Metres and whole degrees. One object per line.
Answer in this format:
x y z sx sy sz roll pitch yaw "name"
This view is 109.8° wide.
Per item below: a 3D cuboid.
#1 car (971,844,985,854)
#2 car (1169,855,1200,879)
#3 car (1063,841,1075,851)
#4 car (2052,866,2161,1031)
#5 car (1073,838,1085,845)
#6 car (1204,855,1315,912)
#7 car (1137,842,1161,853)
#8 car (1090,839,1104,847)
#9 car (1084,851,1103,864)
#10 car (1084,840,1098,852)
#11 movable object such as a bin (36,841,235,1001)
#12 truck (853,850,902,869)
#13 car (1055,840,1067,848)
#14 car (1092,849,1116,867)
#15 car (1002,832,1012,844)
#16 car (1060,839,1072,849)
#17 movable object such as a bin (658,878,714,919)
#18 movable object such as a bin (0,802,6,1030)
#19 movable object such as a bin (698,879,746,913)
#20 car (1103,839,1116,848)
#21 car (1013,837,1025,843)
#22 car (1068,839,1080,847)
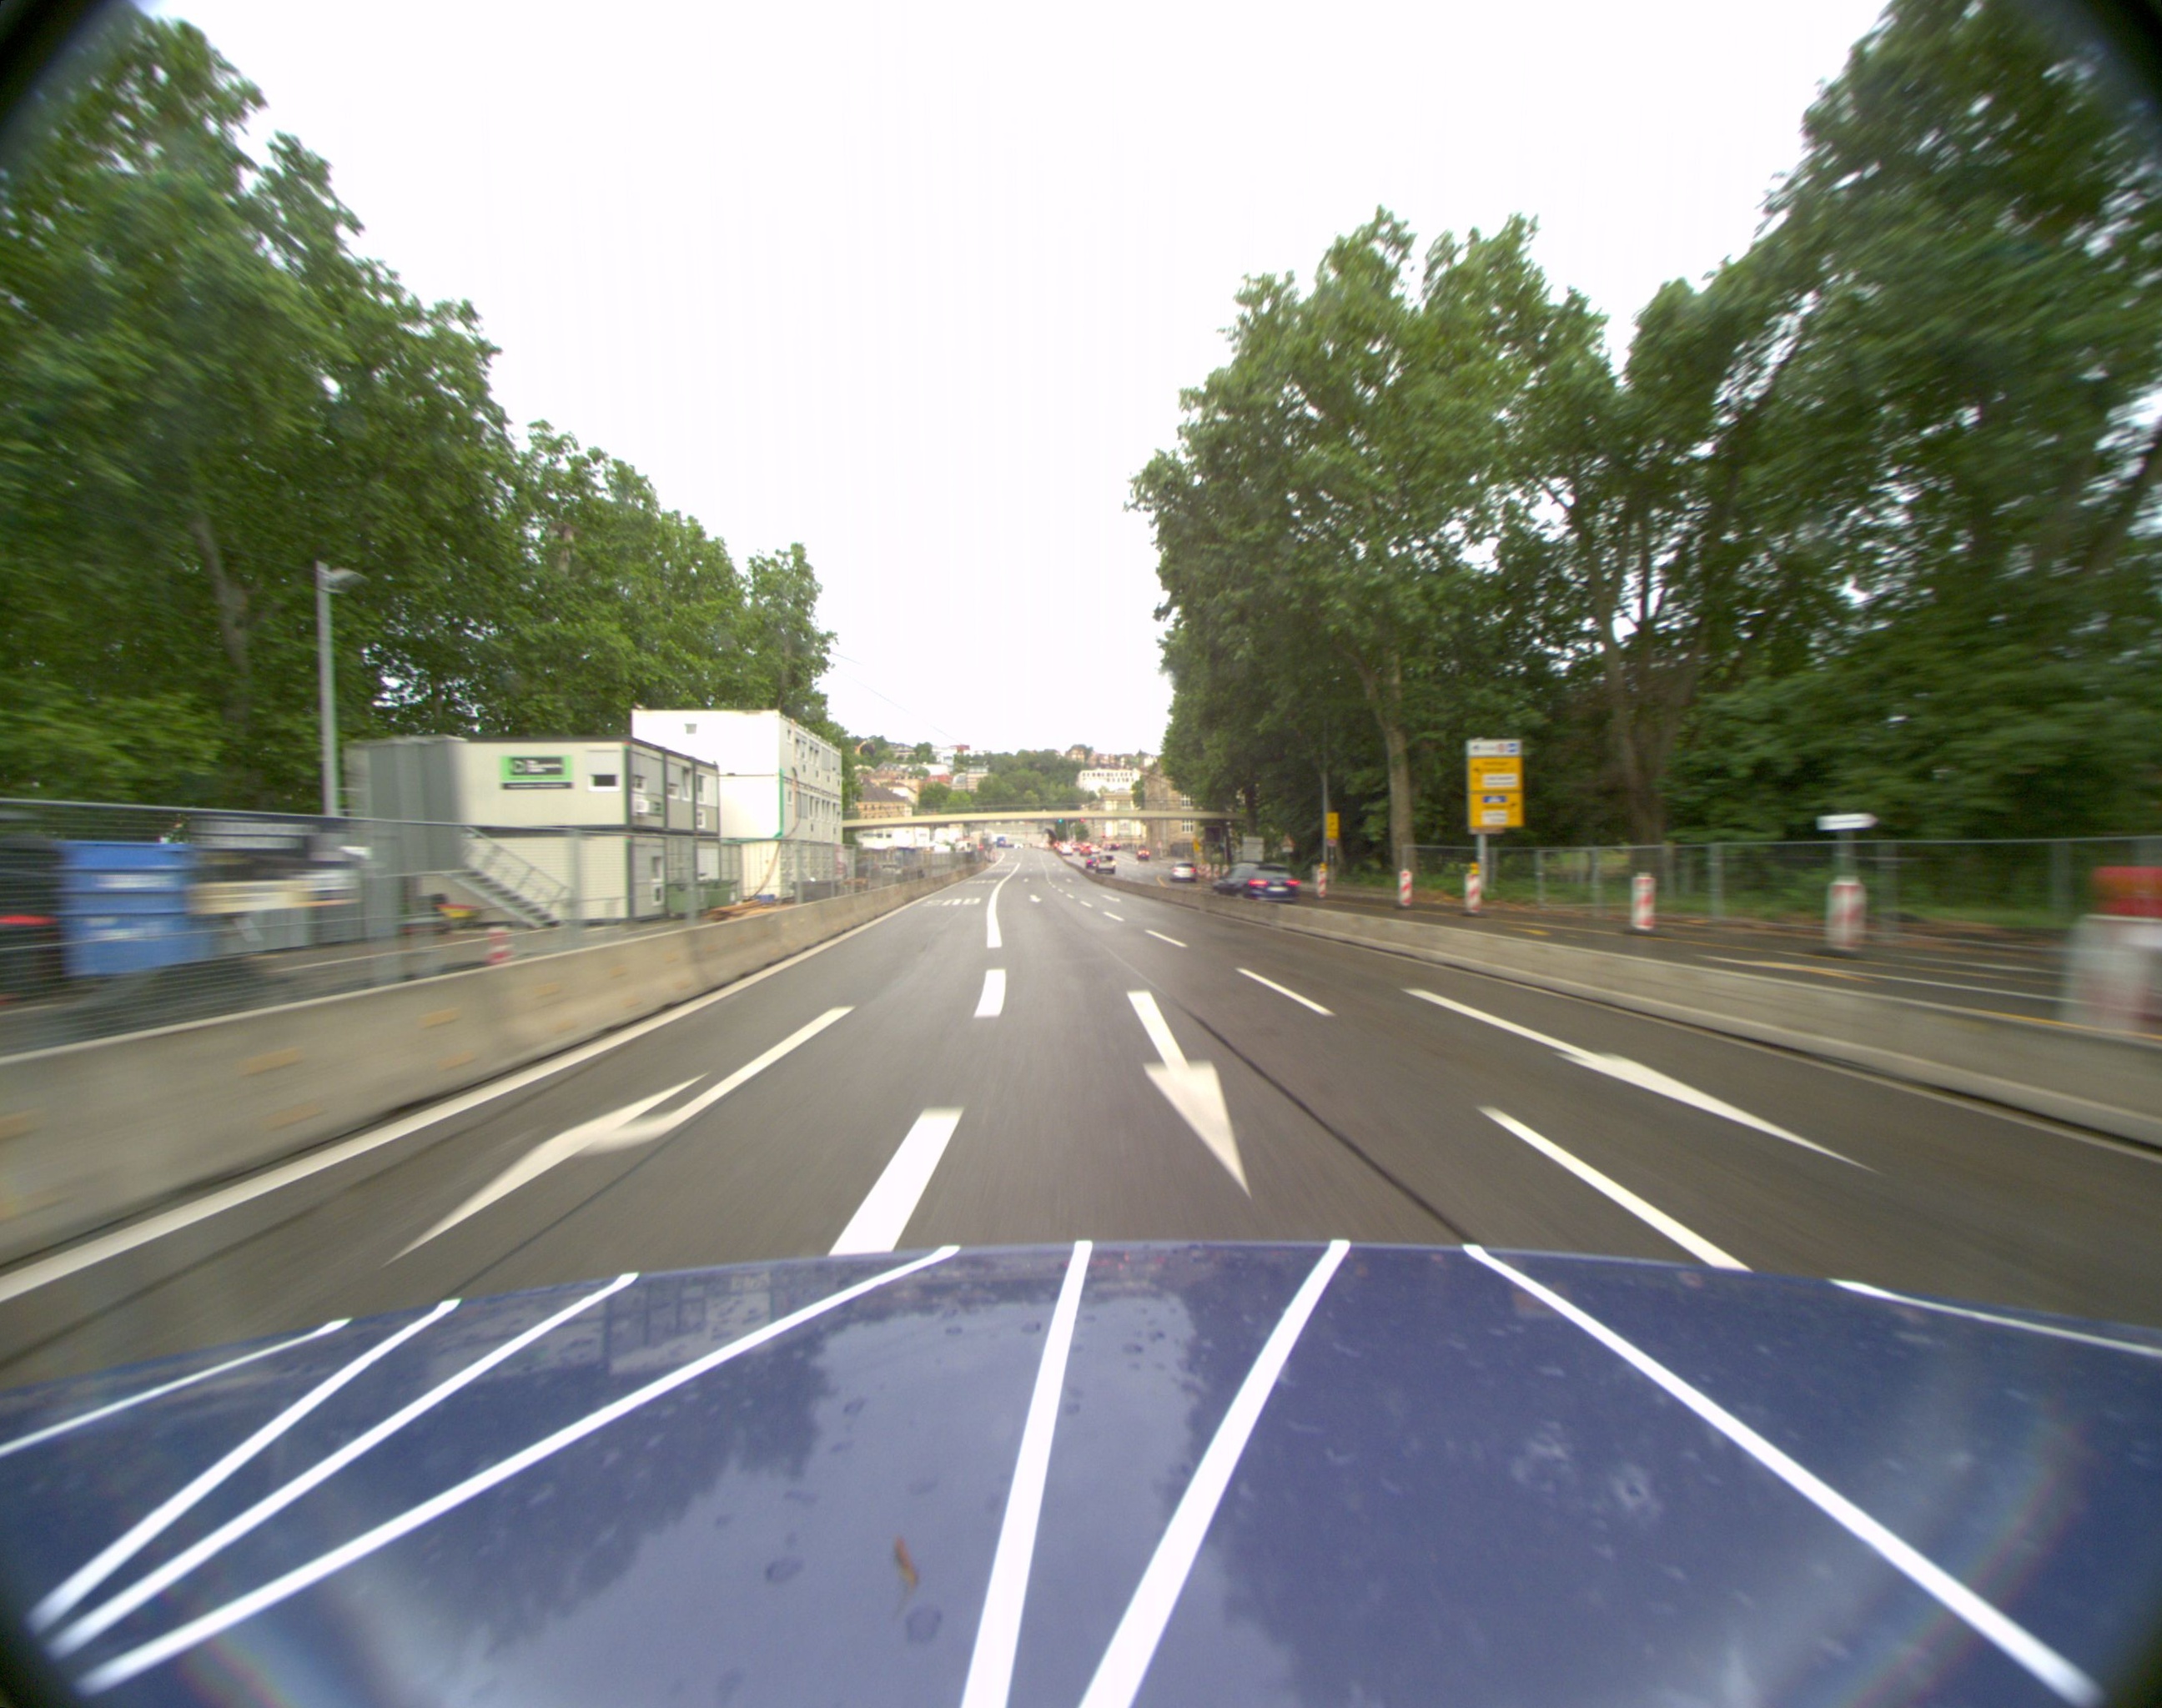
-18.126 -0.921 134.312 1.837 1.433 4.410 -2 2 0 "car"
7.457 0.912 55.032 1.873 1.532 4.090 1 2 3 "car"
-2.238 -1.486 141.339 1.899 1.559 4.893 1 2 -6 "car"
11.582 0.994 5.934 2.001 1.532 4.438 1 2 -12 "car"
-0.453 -2.738 166.431 2.000 1.375 4.207 1 2 -8 "car"
5.787 0.908 25.301 2.000 1.532 4.574 1 2 -9 "car"
10.830 -0.957 120.591 2.032 1.643 4.327 0 0 31 "car"
3.174 -2.208 152.474 2.000 1.375 4.206 1 2 -9 "car"
1.388 0.399 85.309 1.717 1.331 4.059 4 0 -4 "car"
1.738 -1.491 140.117 2.037 1.926 5.039 1 2 -5 "car"
-14.025 0.936 11.362 1.463 2.190 1.262 -1 -1 -28 "movable object such as a bin"
-23.251 0.636 86.925 5.171 2.003 2.406 -1 3 -10 "truck"
-4.470 -2.250 168.002 2.000 1.559 5.376 1 2 -7 "car"
2.203 0.365 73.789 2.036 1.644 4.910 1 1 -1 "car"
-25.596 -5.670 263.077 2.837 3.992 8.718 1 2 -3 "car"
-2.938 -2.009 148.078 1.915 1.856 4.374 1 2 -7 "car"
-13.050 1.471 25.168 1.250 1.230 1.238 1 3 -5 "movable object such as a bin"
-13.813 0.733 7.281 1.813 2.792 3.863 -1 -1 -10 "movable object such as a bin"
-13.377 1.556 28.355 1.250 1.117 1.238 1 3 -5 "movable object such as a bin"
6.499 -2.394 173.080 2.001 2.003 3.994 1 2 -12 "car"
-16.700 -3.816 204.331 2.002 1.562 3.990 0 3 -23 "car"
-1.616 -2.554 173.228 2.000 1.547 4.206 1 2 -9 "car"
